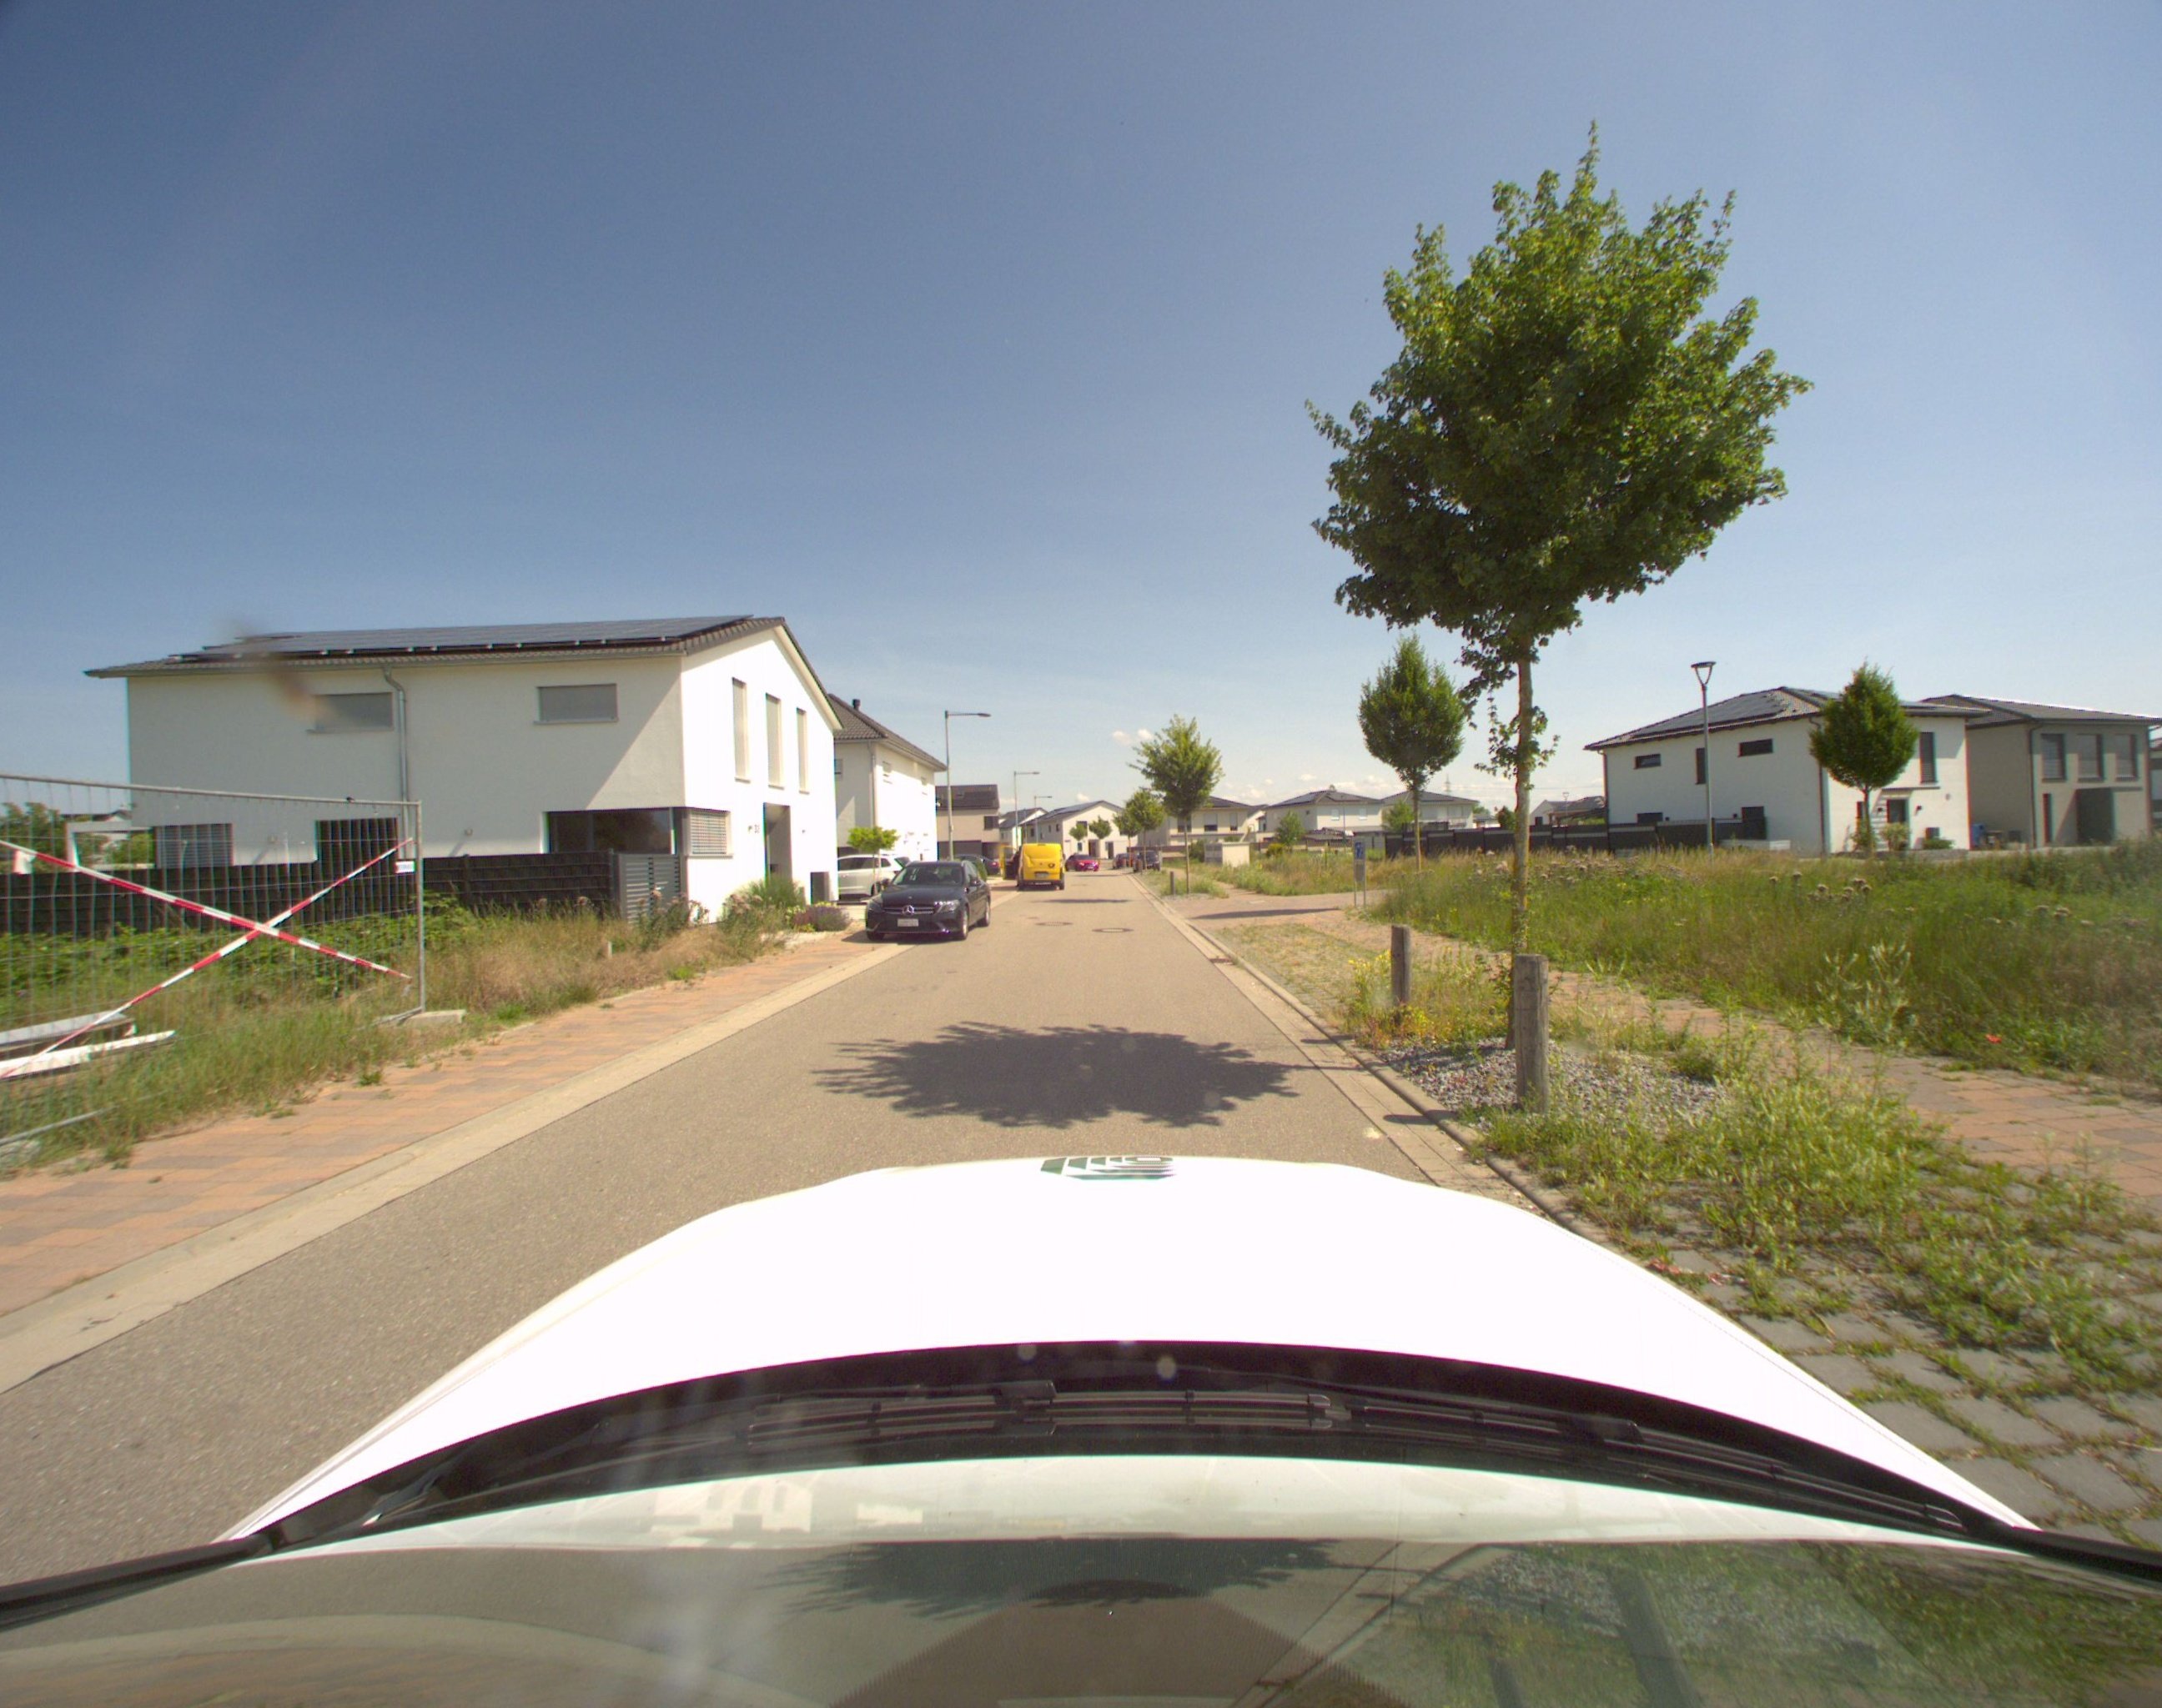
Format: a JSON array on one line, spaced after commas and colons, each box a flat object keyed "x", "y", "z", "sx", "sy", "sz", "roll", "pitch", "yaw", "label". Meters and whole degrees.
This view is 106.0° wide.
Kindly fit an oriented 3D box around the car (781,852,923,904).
[{"x": -7.391, "y": 0.758, "z": 26.504, "sx": 4.047, "sy": 1.581, "sz": 1.788, "roll": -1, "pitch": 1, "yaw": 7, "label": "car"}]

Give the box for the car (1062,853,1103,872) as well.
[{"x": 0.080, "y": 0.687, "z": 67.337, "sx": 2.000, "sy": 1.431, "sz": 4.670, "roll": -1, "pitch": 0, "yaw": -19, "label": "car"}]

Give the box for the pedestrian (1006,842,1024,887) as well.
[{"x": -3.001, "y": 0.482, "z": 37.029, "sx": 0.649, "sy": 2.014, "sz": 1.124, "roll": -2, "pitch": -1, "yaw": 1, "label": "pedestrian"}]

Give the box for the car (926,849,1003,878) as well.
[{"x": -6.736, "y": 0.565, "z": 46.879, "sx": 4.167, "sy": 1.505, "sz": 1.806, "roll": 2, "pitch": -1, "yaw": -15, "label": "car"}]

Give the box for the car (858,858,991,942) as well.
[{"x": -2.937, "y": 0.799, "z": 16.182, "sx": 1.739, "sy": 1.405, "sz": 4.161, "roll": 0, "pitch": 0, "yaw": 1, "label": "car"}]

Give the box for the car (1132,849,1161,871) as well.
[{"x": 4.476, "y": 0.467, "z": 56.035, "sx": 1.633, "sy": 1.403, "sz": 3.810, "roll": -2, "pitch": -1, "yaw": 0, "label": "car"}]

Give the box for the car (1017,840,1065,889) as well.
[{"x": -1.734, "y": 0.478, "z": 36.058, "sx": 1.937, "sy": 1.981, "sz": 4.213, "roll": -2, "pitch": -1, "yaw": -2, "label": "car"}]

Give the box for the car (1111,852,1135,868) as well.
[{"x": 3.806, "y": 0.548, "z": 74.669, "sx": 1.625, "sy": 1.322, "sz": 3.826, "roll": -2, "pitch": -2, "yaw": -5, "label": "car"}]
